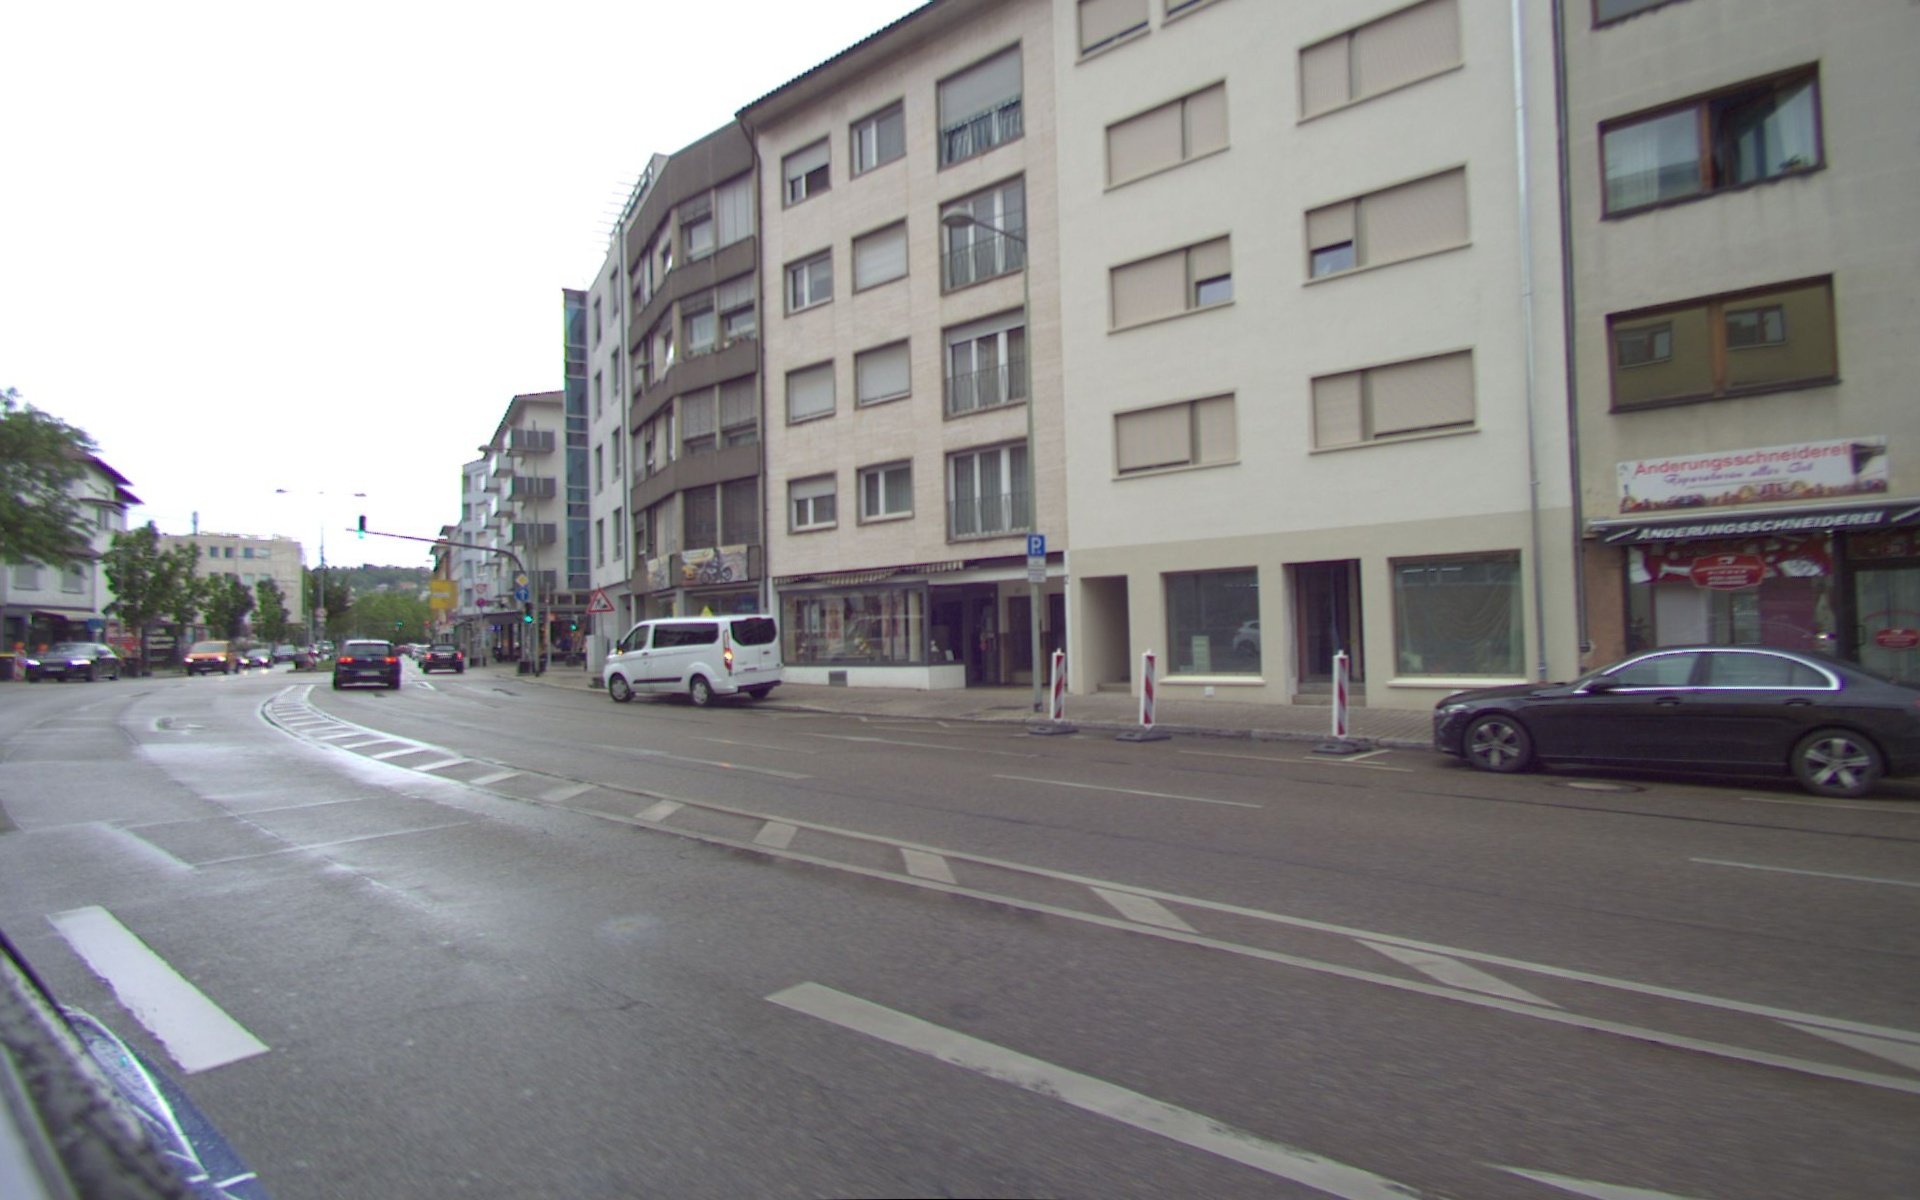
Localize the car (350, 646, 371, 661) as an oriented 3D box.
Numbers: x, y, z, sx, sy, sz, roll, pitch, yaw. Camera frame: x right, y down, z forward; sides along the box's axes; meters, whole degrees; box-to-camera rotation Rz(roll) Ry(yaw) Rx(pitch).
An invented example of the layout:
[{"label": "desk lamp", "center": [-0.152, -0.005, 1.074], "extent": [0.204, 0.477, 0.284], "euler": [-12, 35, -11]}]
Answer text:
[{"label": "car", "center": [-66.759, 5.960, 112.665], "extent": [1.821, 1.606, 4.103], "euler": [1, -3, -28]}]

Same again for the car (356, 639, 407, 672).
[{"label": "car", "center": [-27.263, 2.620, 47.815], "extent": [1.956, 1.470, 4.499], "euler": [2, -4, -29]}]

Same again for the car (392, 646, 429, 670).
[{"label": "car", "center": [-36.318, 3.818, 66.872], "extent": [1.902, 1.485, 4.617], "euler": [3, -4, -31]}]

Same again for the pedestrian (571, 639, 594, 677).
[{"label": "pedestrian", "center": [-16.491, 2.543, 44.252], "extent": [0.619, 1.620, 0.830], "euler": [-1, -3, 8]}]

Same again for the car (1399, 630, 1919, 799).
[{"label": "car", "center": [7.582, 1.109, 10.839], "extent": [4.971, 1.488, 1.864], "euler": [-2, -4, 38]}]

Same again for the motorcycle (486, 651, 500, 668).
[{"label": "motorcycle", "center": [-33.332, 4.224, 72.224], "extent": [0.659, 1.096, 2.202], "euler": [-2, -1, -30]}]

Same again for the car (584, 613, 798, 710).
[{"label": "car", "center": [-6.484, 1.398, 24.152], "extent": [5.116, 2.029, 2.101], "euler": [-2, 0, 35]}]

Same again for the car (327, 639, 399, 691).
[{"label": "car", "center": [-18.333, 1.999, 30.994], "extent": [1.661, 1.484, 4.011], "euler": [3, -5, -33]}]

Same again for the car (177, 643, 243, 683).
[{"label": "car", "center": [-43.094, 3.558, 58.304], "extent": [2.162, 2.102, 5.952], "euler": [-1, -2, -28]}]

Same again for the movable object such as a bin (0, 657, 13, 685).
[{"label": "movable object such as a bin", "center": [-36.714, 2.724, 38.690], "extent": [0.612, 1.039, 0.533], "euler": [2, -5, -30]}]

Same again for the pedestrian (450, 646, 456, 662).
[{"label": "pedestrian", "center": [-51.921, 5.520, 103.657], "extent": [0.504, 1.701, 0.533], "euler": [2, -2, -29]}]

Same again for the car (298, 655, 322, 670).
[{"label": "car", "center": [-75.944, 7.269, 118.293], "extent": [1.966, 1.620, 4.012], "euler": [-2, -1, -29]}]

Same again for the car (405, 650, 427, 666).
[{"label": "car", "center": [-53.885, 5.746, 100.238], "extent": [1.747, 1.535, 4.297], "euler": [1, -3, -27]}]

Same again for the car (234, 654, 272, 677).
[{"label": "car", "center": [-51.651, 4.778, 74.015], "extent": [1.813, 1.453, 4.012], "euler": [-2, -1, -28]}]

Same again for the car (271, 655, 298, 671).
[{"label": "car", "center": [-63.410, 5.887, 95.019], "extent": [1.784, 1.352, 4.012], "euler": [-2, -1, -29]}]

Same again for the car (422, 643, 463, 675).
[{"label": "car", "center": [-24.671, 2.802, 48.191], "extent": [1.698, 1.410, 3.605], "euler": [0, -3, -28]}]

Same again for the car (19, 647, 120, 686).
[{"label": "car", "center": [-32.509, 2.459, 37.074], "extent": [1.782, 1.350, 4.291], "euler": [1, -5, -28]}]
